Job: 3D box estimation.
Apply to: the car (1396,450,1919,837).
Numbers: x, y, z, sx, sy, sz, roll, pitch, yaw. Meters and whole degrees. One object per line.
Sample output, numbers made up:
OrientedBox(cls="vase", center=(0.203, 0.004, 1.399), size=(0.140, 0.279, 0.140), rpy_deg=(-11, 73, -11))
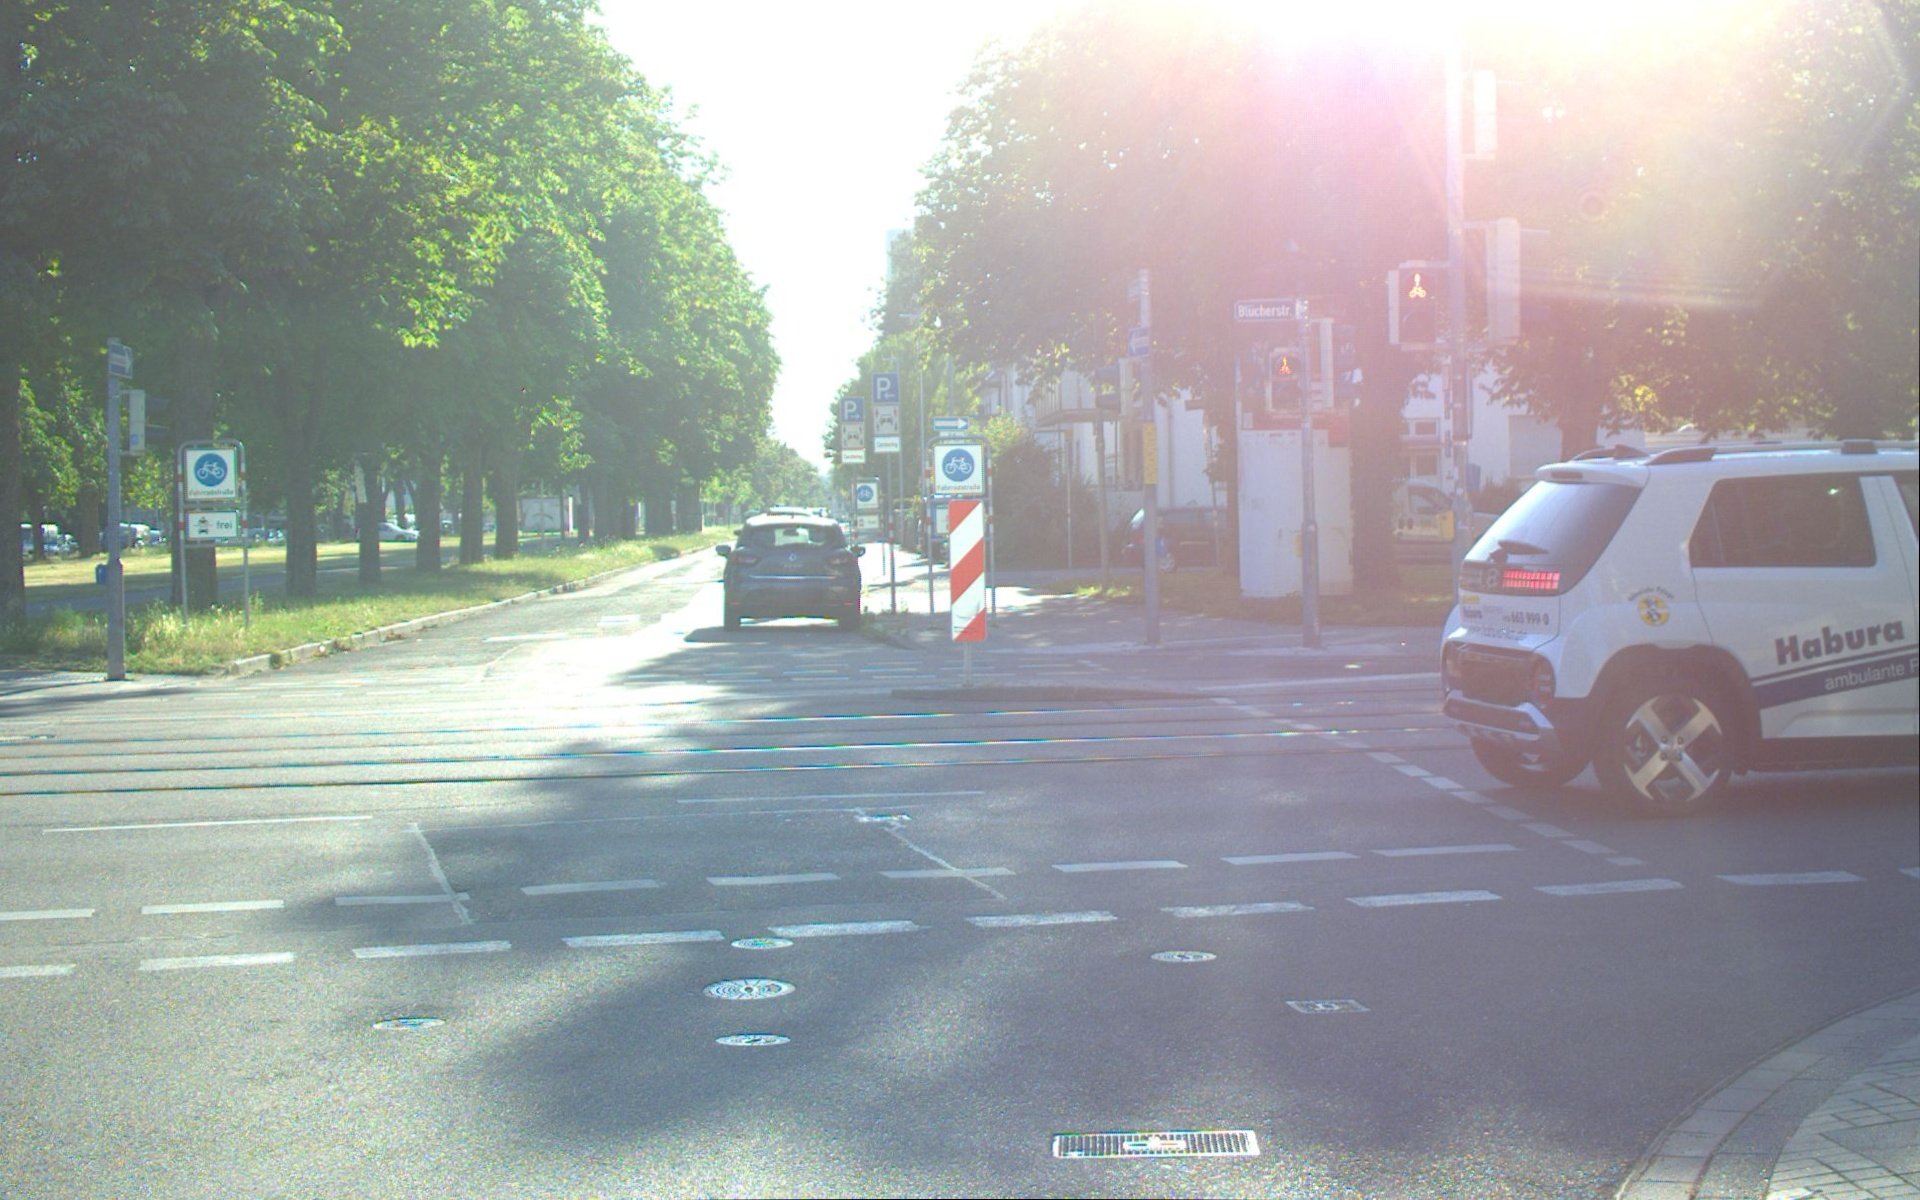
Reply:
OrientedBox(cls="car", center=(4.106, 0.115, 15.670), size=(3.863, 1.546, 1.613), rpy_deg=(-2, 3, -13))

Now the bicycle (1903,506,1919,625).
OrientedBox(cls="bicycle", center=(10.084, -0.352, 32.854), size=(1.954, 1.128, 0.620), rpy_deg=(-1, 1, 1))

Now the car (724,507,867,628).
OrientedBox(cls="car", center=(-2.064, -0.441, 43.883), size=(1.641, 1.446, 3.307), rpy_deg=(-1, 2, 0))

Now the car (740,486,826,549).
OrientedBox(cls="car", center=(-4.001, -1.888, 78.121), size=(1.845, 1.389, 3.829), rpy_deg=(-1, 2, -1))

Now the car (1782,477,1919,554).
OrientedBox(cls="car", center=(17.929, -1.646, 66.024), size=(3.844, 1.422, 1.598), rpy_deg=(-1, 1, -6))

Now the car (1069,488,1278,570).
OrientedBox(cls="car", center=(4.018, -1.349, 64.984), size=(3.779, 1.422, 1.744), rpy_deg=(-1, 3, -2))

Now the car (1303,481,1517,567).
OrientedBox(cls="car", center=(8.524, -1.456, 65.309), size=(3.779, 1.520, 1.744), rpy_deg=(-1, 3, -2))
